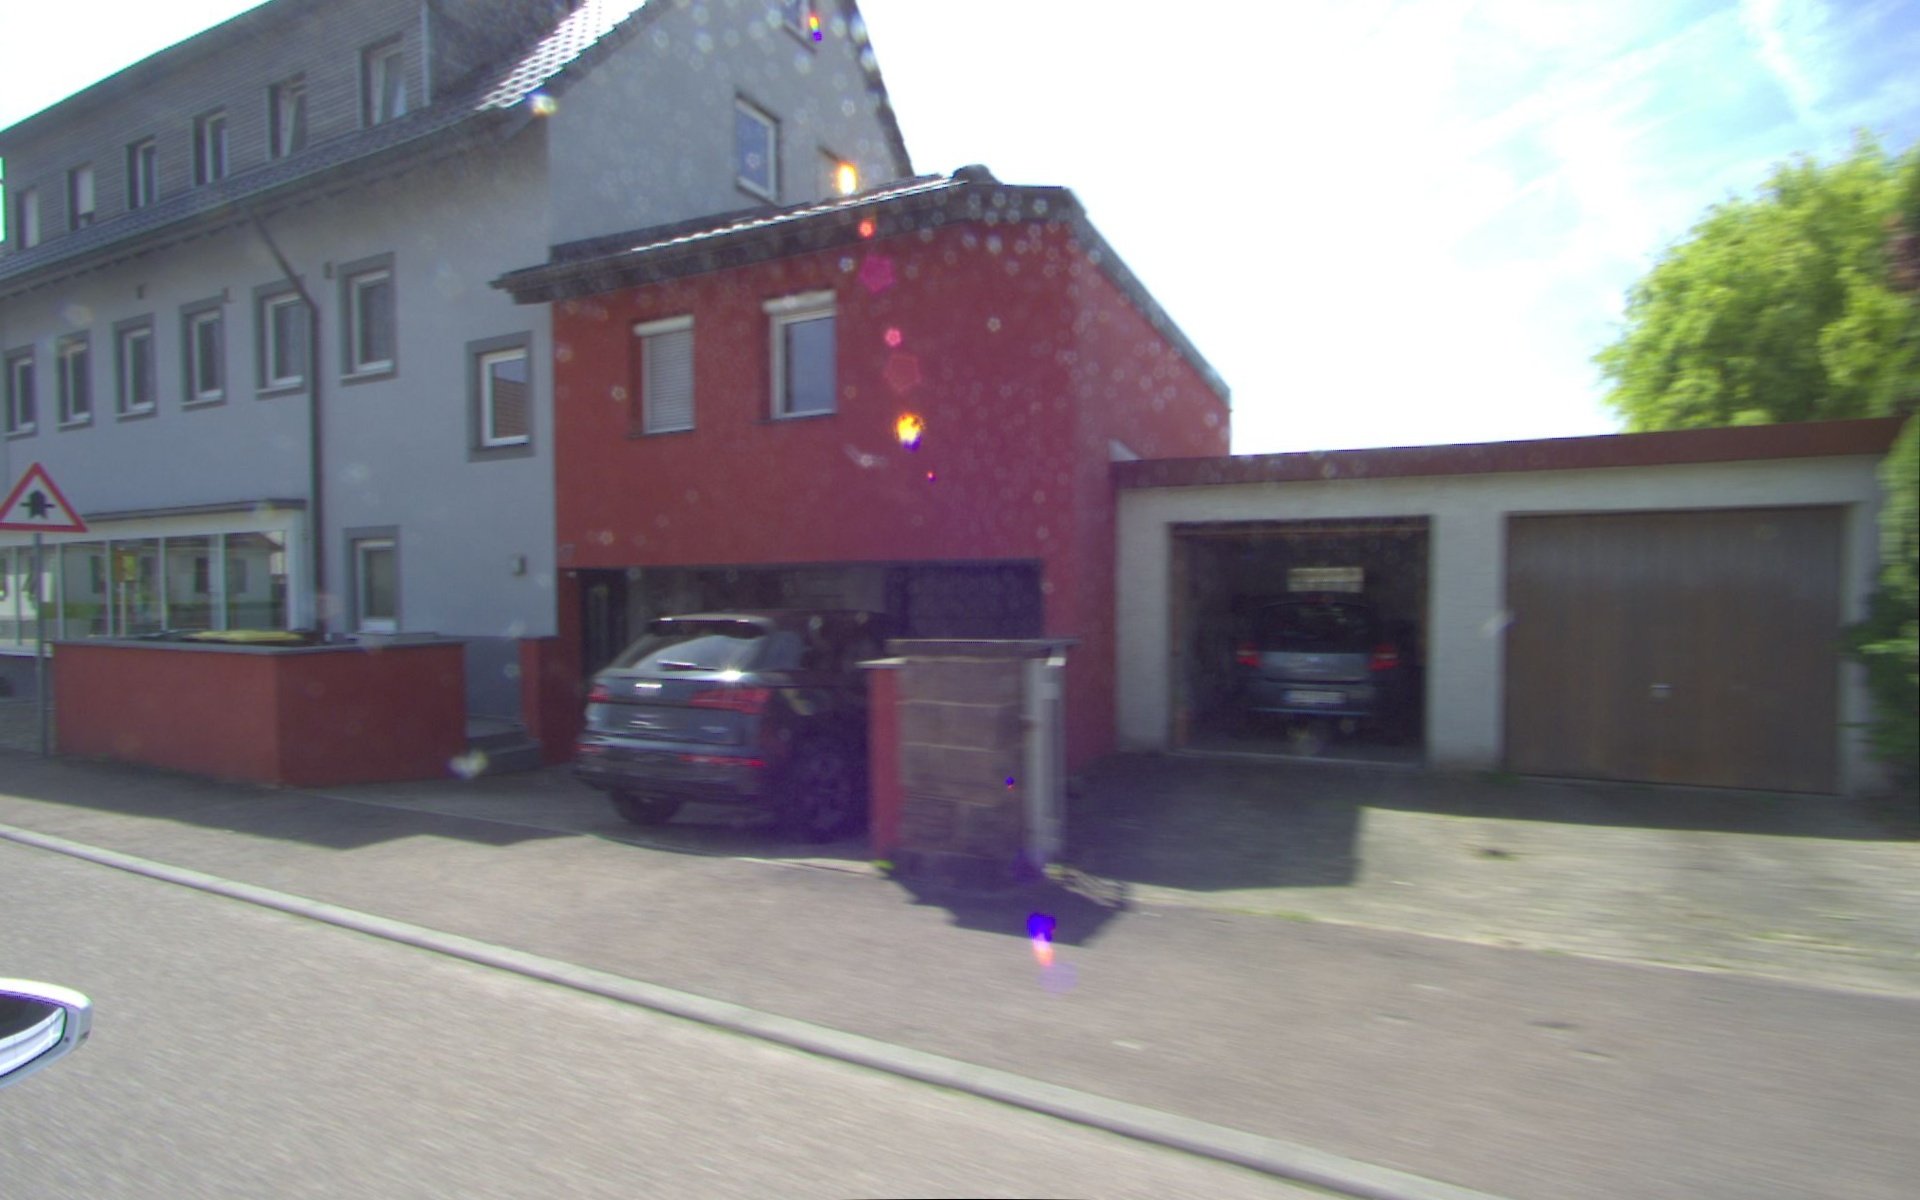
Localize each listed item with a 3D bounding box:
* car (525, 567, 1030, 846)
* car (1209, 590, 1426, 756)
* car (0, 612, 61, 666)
[{"bbox_3d":[-1.152,0.871,8.470,1.847,1.688,4.371,0,-6,28],"label":"car"},{"bbox_3d":[4.171,0.648,11.282,1.761,1.485,3.950,1,1,28],"label":"car"},{"bbox_3d":[-27.797,1.087,27.766,1.670,1.523,3.979,0,-1,32],"label":"car"}]
